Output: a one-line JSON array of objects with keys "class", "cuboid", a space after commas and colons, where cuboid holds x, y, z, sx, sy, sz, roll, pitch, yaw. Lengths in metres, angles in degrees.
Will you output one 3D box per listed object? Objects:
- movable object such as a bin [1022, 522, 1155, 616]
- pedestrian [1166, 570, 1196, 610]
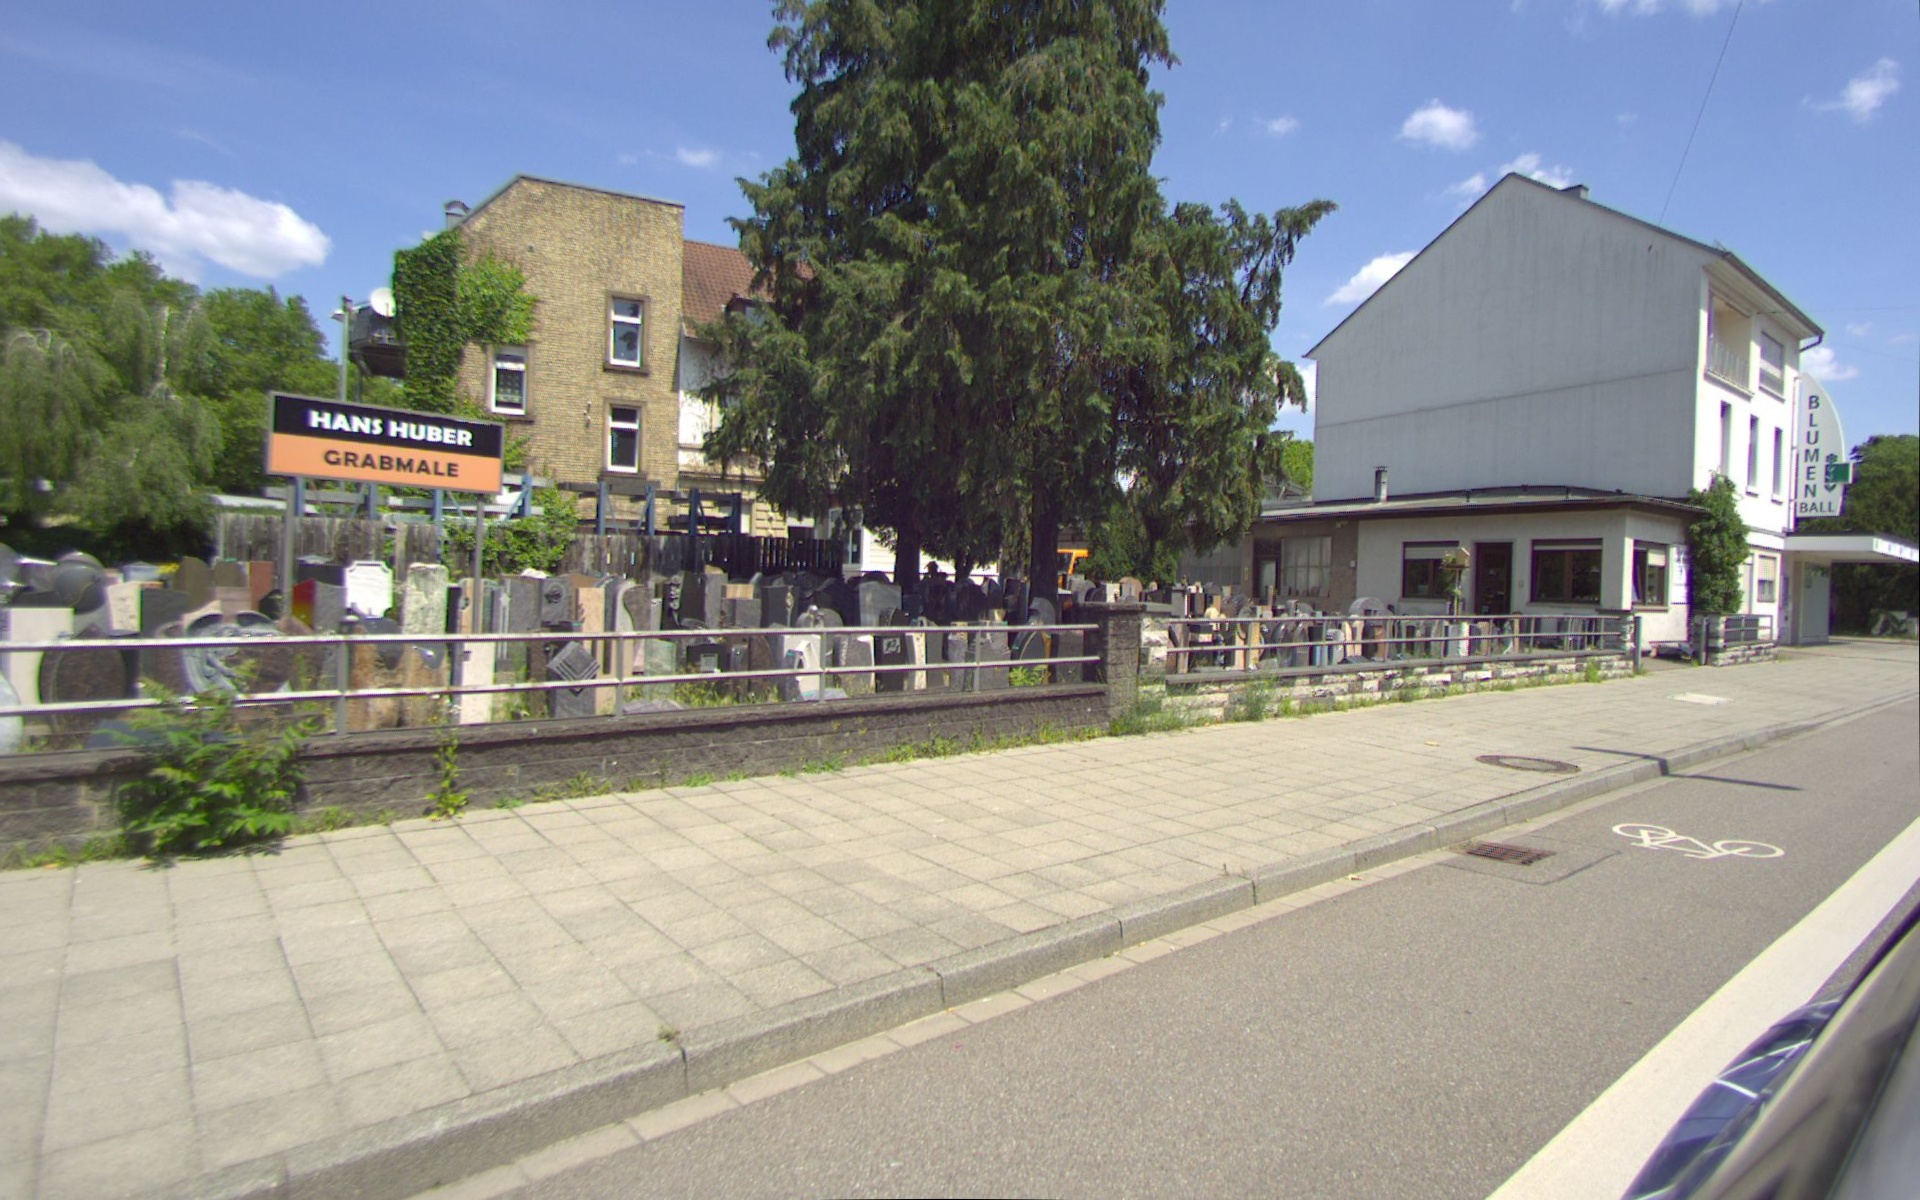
[{"class": "movable object such as a bin", "cuboid": [3.894, -0.931, 30.409, 3.739, 2.651, 1.745, 0, 3, -38]}, {"class": "pedestrian", "cuboid": [7.483, -0.331, 34.244, 0.704, 1.306, 0.646, 0, 3, -39]}]
